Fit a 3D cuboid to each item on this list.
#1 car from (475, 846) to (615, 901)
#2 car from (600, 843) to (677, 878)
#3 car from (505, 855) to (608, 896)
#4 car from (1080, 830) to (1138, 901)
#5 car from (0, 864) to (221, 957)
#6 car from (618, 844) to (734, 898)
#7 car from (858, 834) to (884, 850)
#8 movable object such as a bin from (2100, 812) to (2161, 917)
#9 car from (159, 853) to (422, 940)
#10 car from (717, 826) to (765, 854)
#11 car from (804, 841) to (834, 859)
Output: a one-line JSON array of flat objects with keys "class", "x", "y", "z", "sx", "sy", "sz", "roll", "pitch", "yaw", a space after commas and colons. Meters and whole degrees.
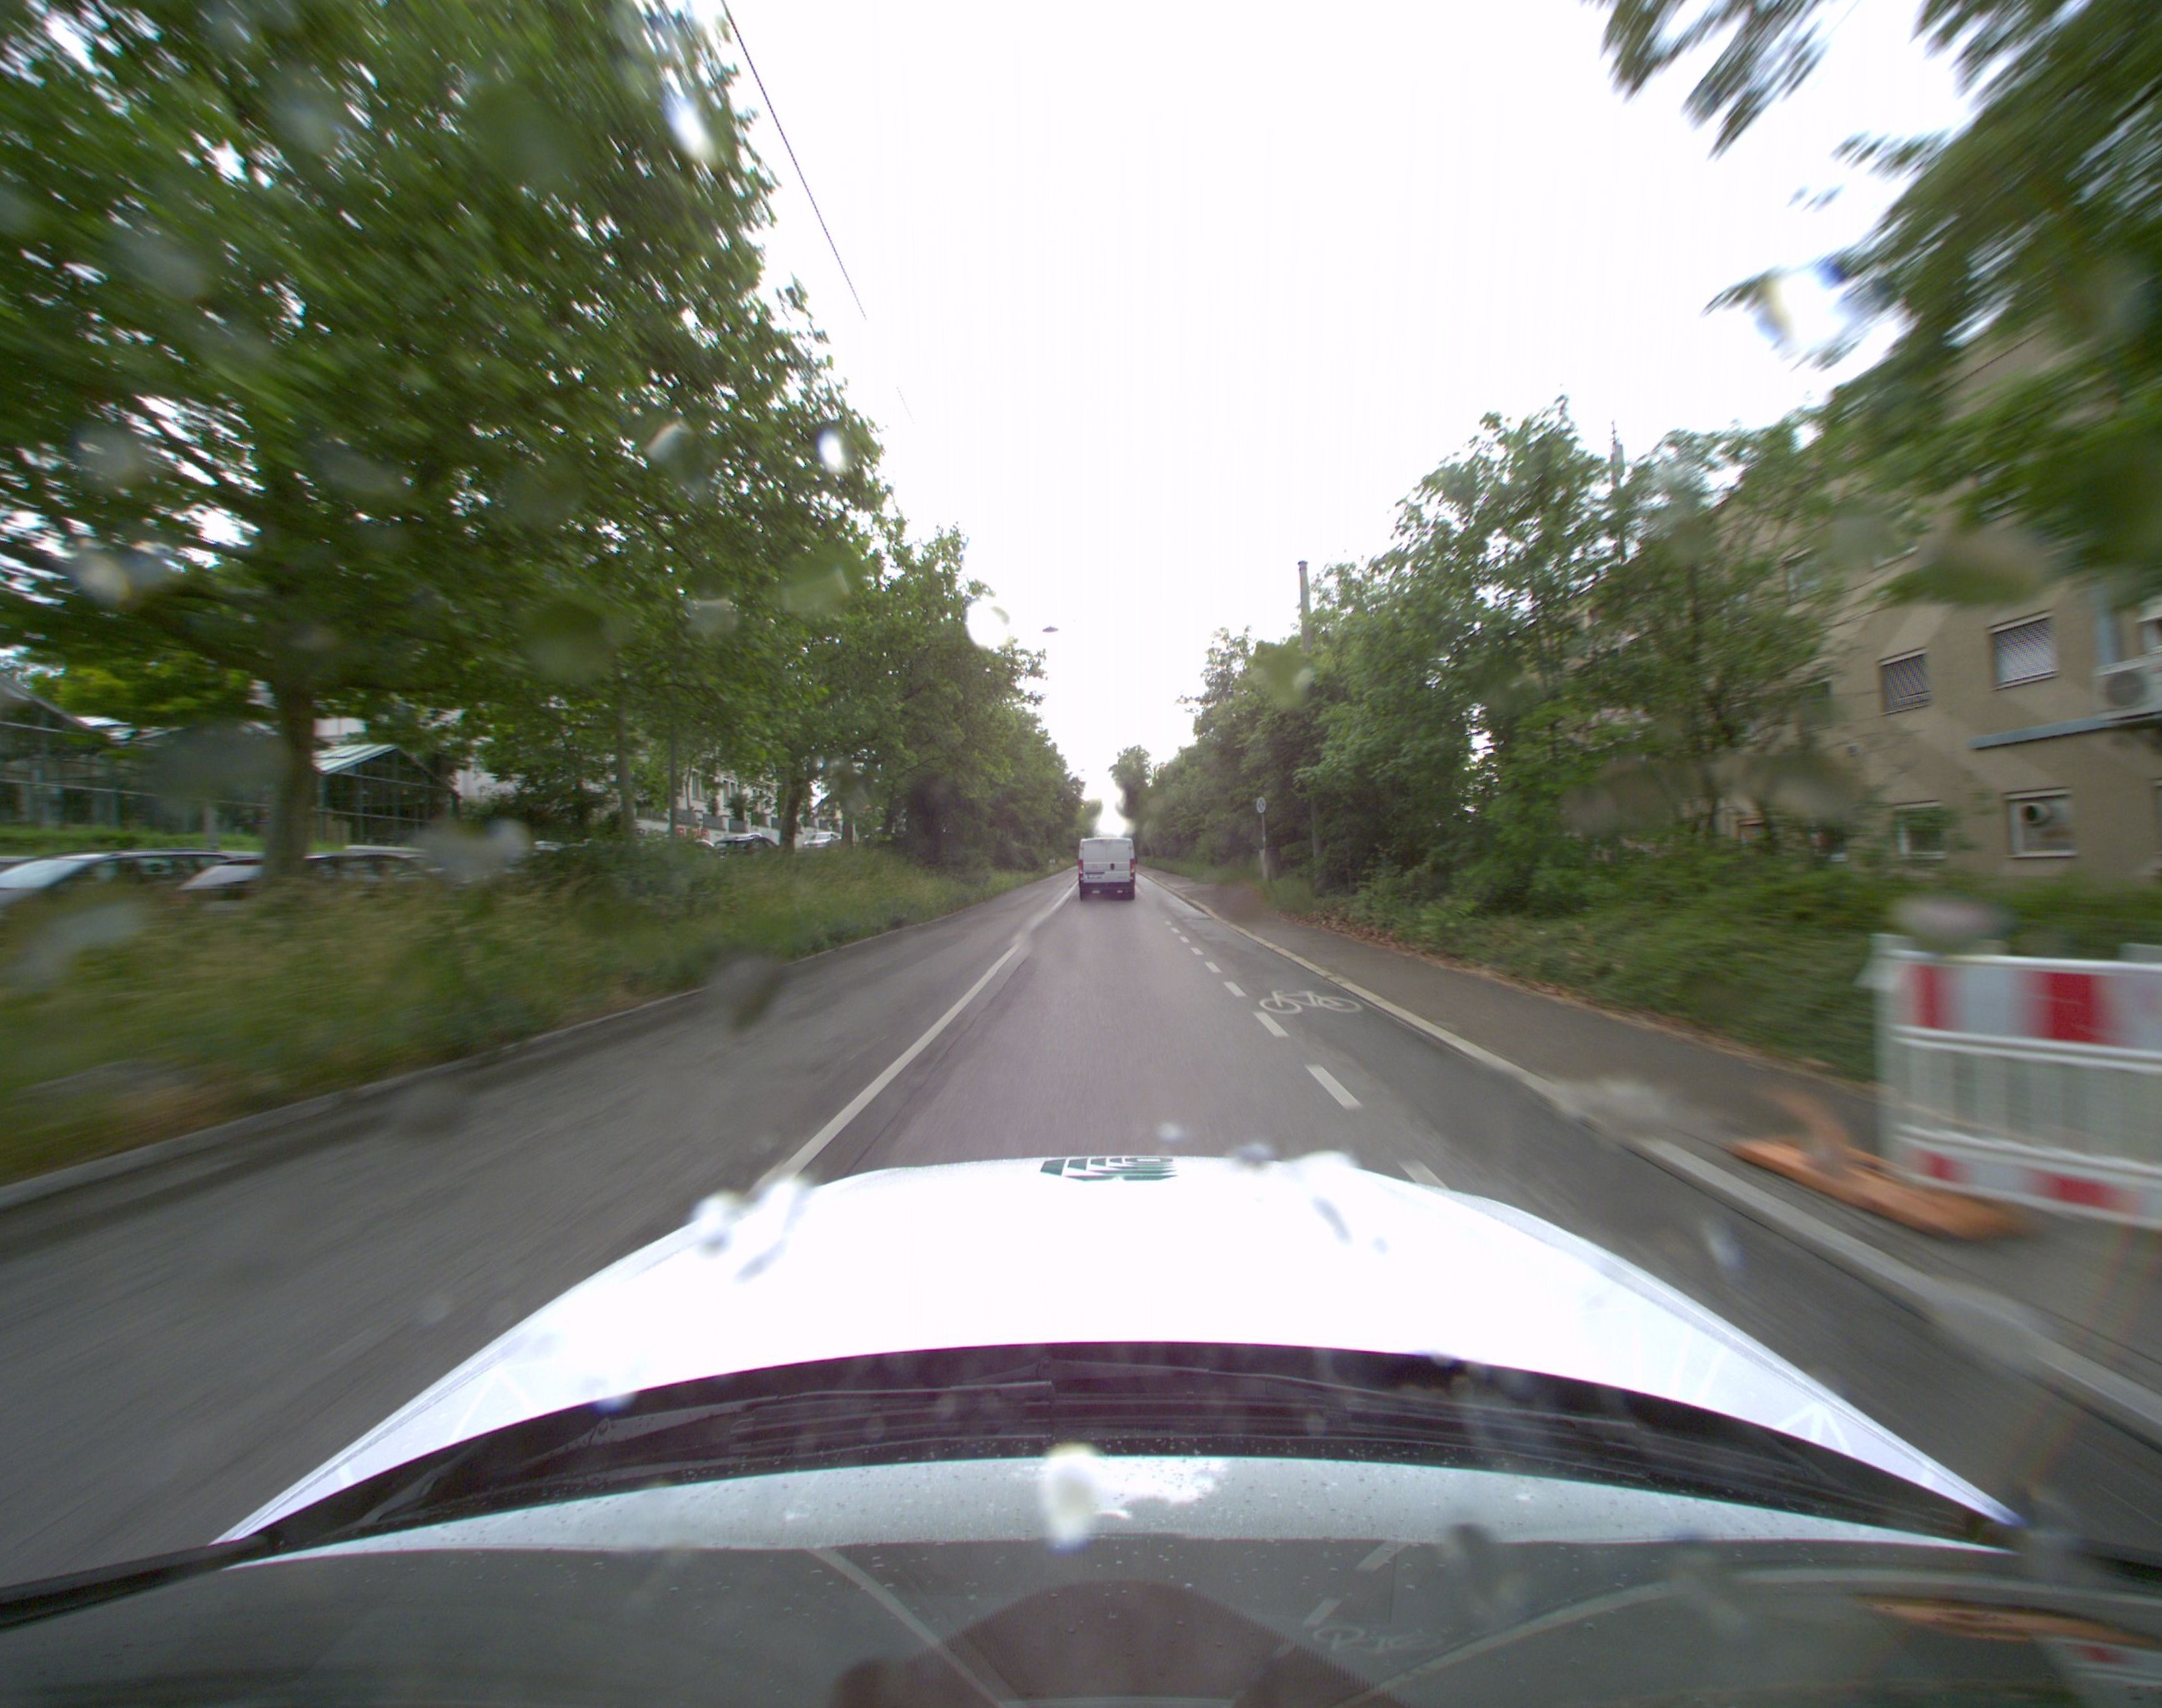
[{"class": "car", "x": -12.121, "y": 0.464, "z": 18.585, "sx": 1.346, "sy": 1.096, "sz": 2.751, "roll": -3, "pitch": -2, "yaw": -1}, {"class": "car", "x": -18.325, "y": 0.305, "z": 33.852, "sx": 1.355, "sy": 1.310, "sz": 3.087, "roll": -3, "pitch": -2, "yaw": 2}, {"class": "car", "x": -18.353, "y": 0.759, "z": 28.675, "sx": 1.459, "sy": 1.291, "sz": 3.303, "roll": -3, "pitch": -2, "yaw": -1}, {"class": "car", "x": 1.081, "y": 0.382, "z": 31.149, "sx": 2.042, "sy": 2.516, "sz": 4.946, "roll": 0, "pitch": 0, "yaw": 2}, {"class": "car", "x": -18.037, "y": 0.996, "z": 14.519, "sx": 1.644, "sy": 1.487, "sz": 3.515, "roll": -3, "pitch": -2, "yaw": -1}, {"class": "car", "x": -11.843, "y": 0.523, "z": 24.067, "sx": 1.698, "sy": 1.404, "sz": 3.443, "roll": -3, "pitch": -2, "yaw": -1}, {"class": "car", "x": -18.831, "y": -1.071, "z": 73.202, "sx": 1.595, "sy": 1.250, "sz": 2.909, "roll": -3, "pitch": -2, "yaw": -1}, {"class": "movable object such as a bin", "x": 15.279, "y": 0.118, "z": 11.001, "sx": 1.266, "sy": 1.416, "sz": 1.358, "roll": -3, "pitch": 0, "yaw": 3}, {"class": "car", "x": -11.950, "y": 0.627, "z": 12.542, "sx": 1.346, "sy": 1.131, "sz": 2.751, "roll": -3, "pitch": -2, "yaw": -1}, {"class": "car", "x": -18.588, "y": -0.746, "z": 44.653, "sx": 1.378, "sy": 1.298, "sz": 3.013, "roll": -3, "pitch": -2, "yaw": -1}, {"class": "car", "x": -18.453, "y": -0.259, "z": 57.372, "sx": 1.209, "sy": 1.133, "sz": 2.453, "roll": -3, "pitch": -2, "yaw": 1}]
